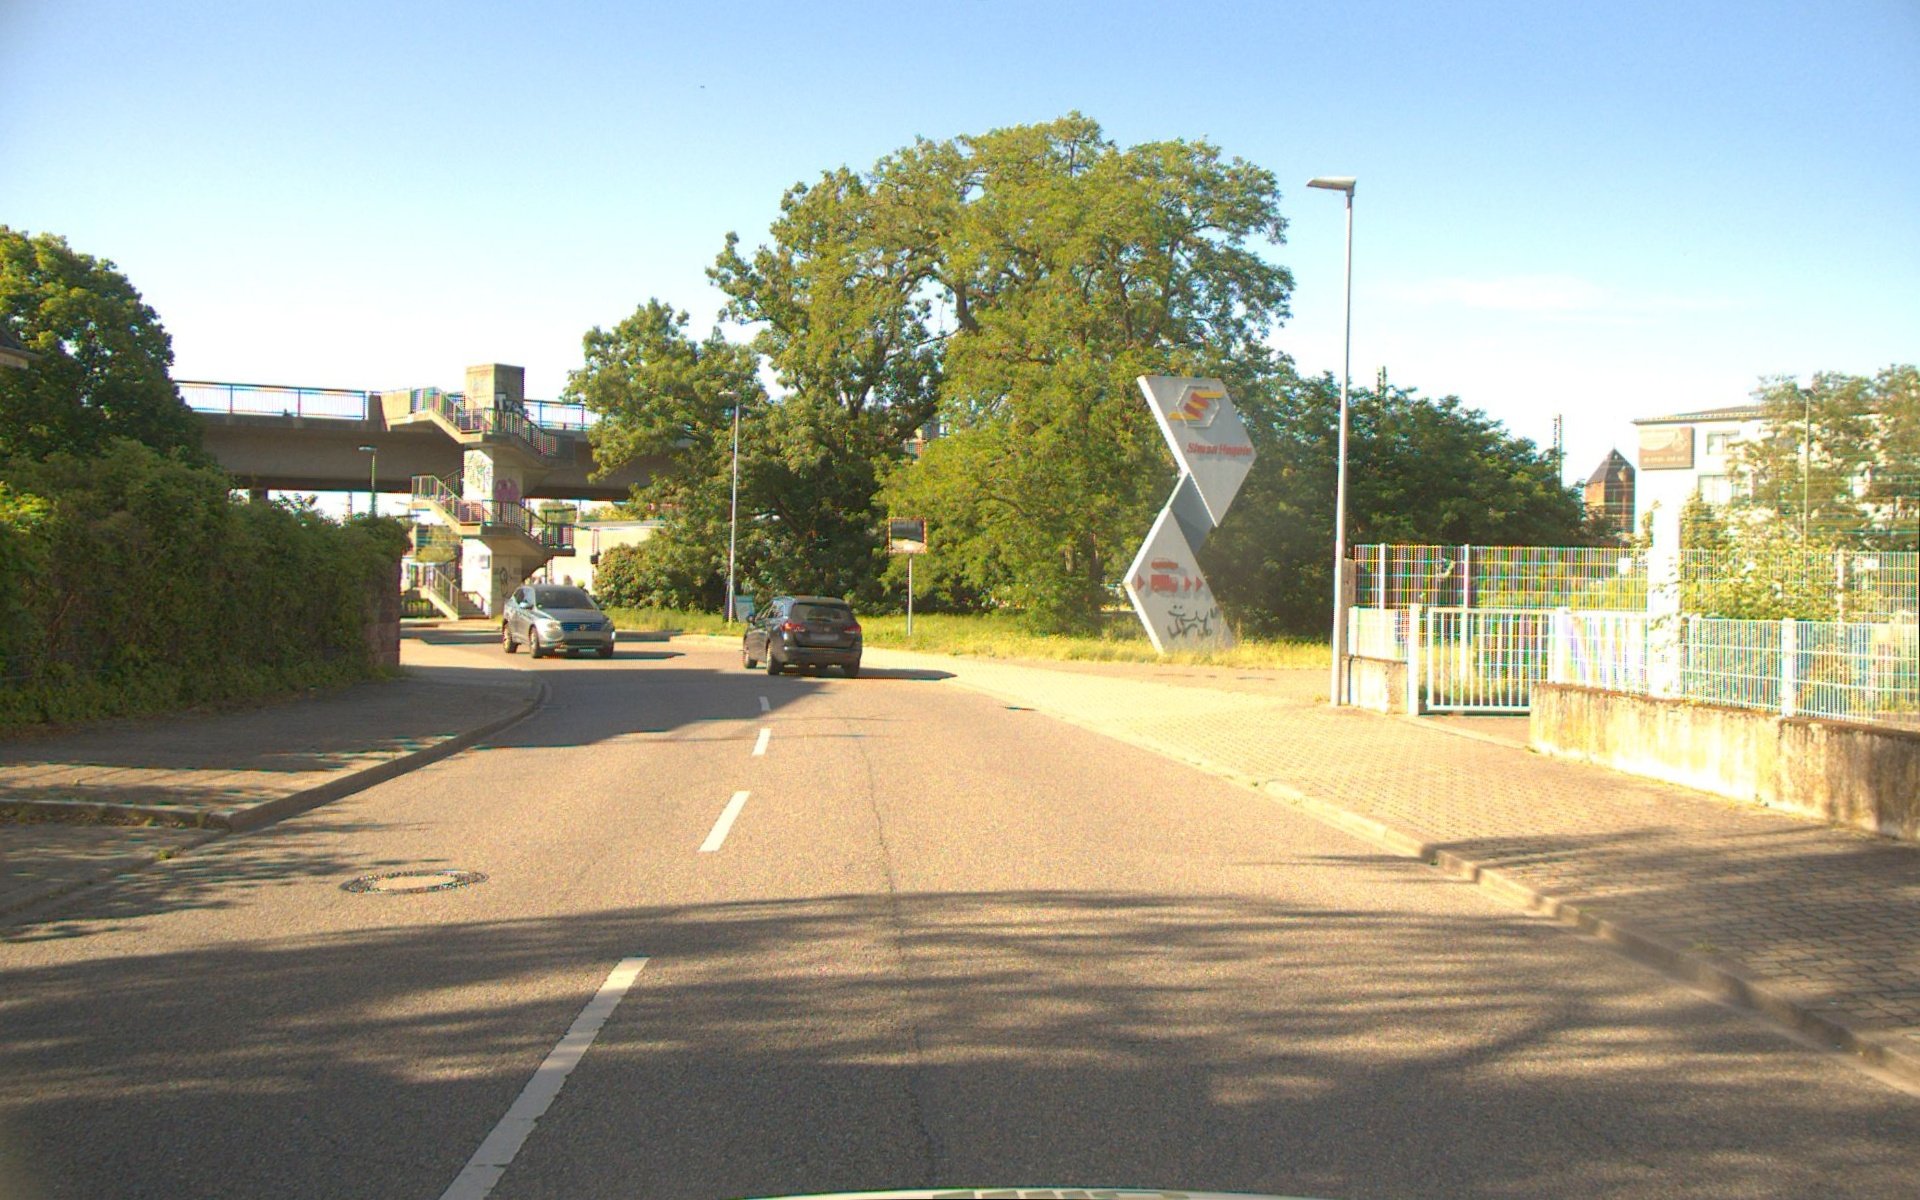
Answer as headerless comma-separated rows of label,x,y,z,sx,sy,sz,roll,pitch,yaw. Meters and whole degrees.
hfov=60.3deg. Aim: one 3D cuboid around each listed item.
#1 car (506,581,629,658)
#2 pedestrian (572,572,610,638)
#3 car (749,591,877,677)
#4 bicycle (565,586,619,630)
car,-9.423,0.422,39.509,1.970,1.716,4.169,0,1,-27
pedestrian,-11.602,0.153,51.970,0.775,2.049,0.855,3,-1,-41
car,-2.943,0.613,32.367,1.817,1.557,3.984,0,0,-15
bicycle,-11.533,0.237,51.771,0.797,1.290,2.230,3,-1,-36
